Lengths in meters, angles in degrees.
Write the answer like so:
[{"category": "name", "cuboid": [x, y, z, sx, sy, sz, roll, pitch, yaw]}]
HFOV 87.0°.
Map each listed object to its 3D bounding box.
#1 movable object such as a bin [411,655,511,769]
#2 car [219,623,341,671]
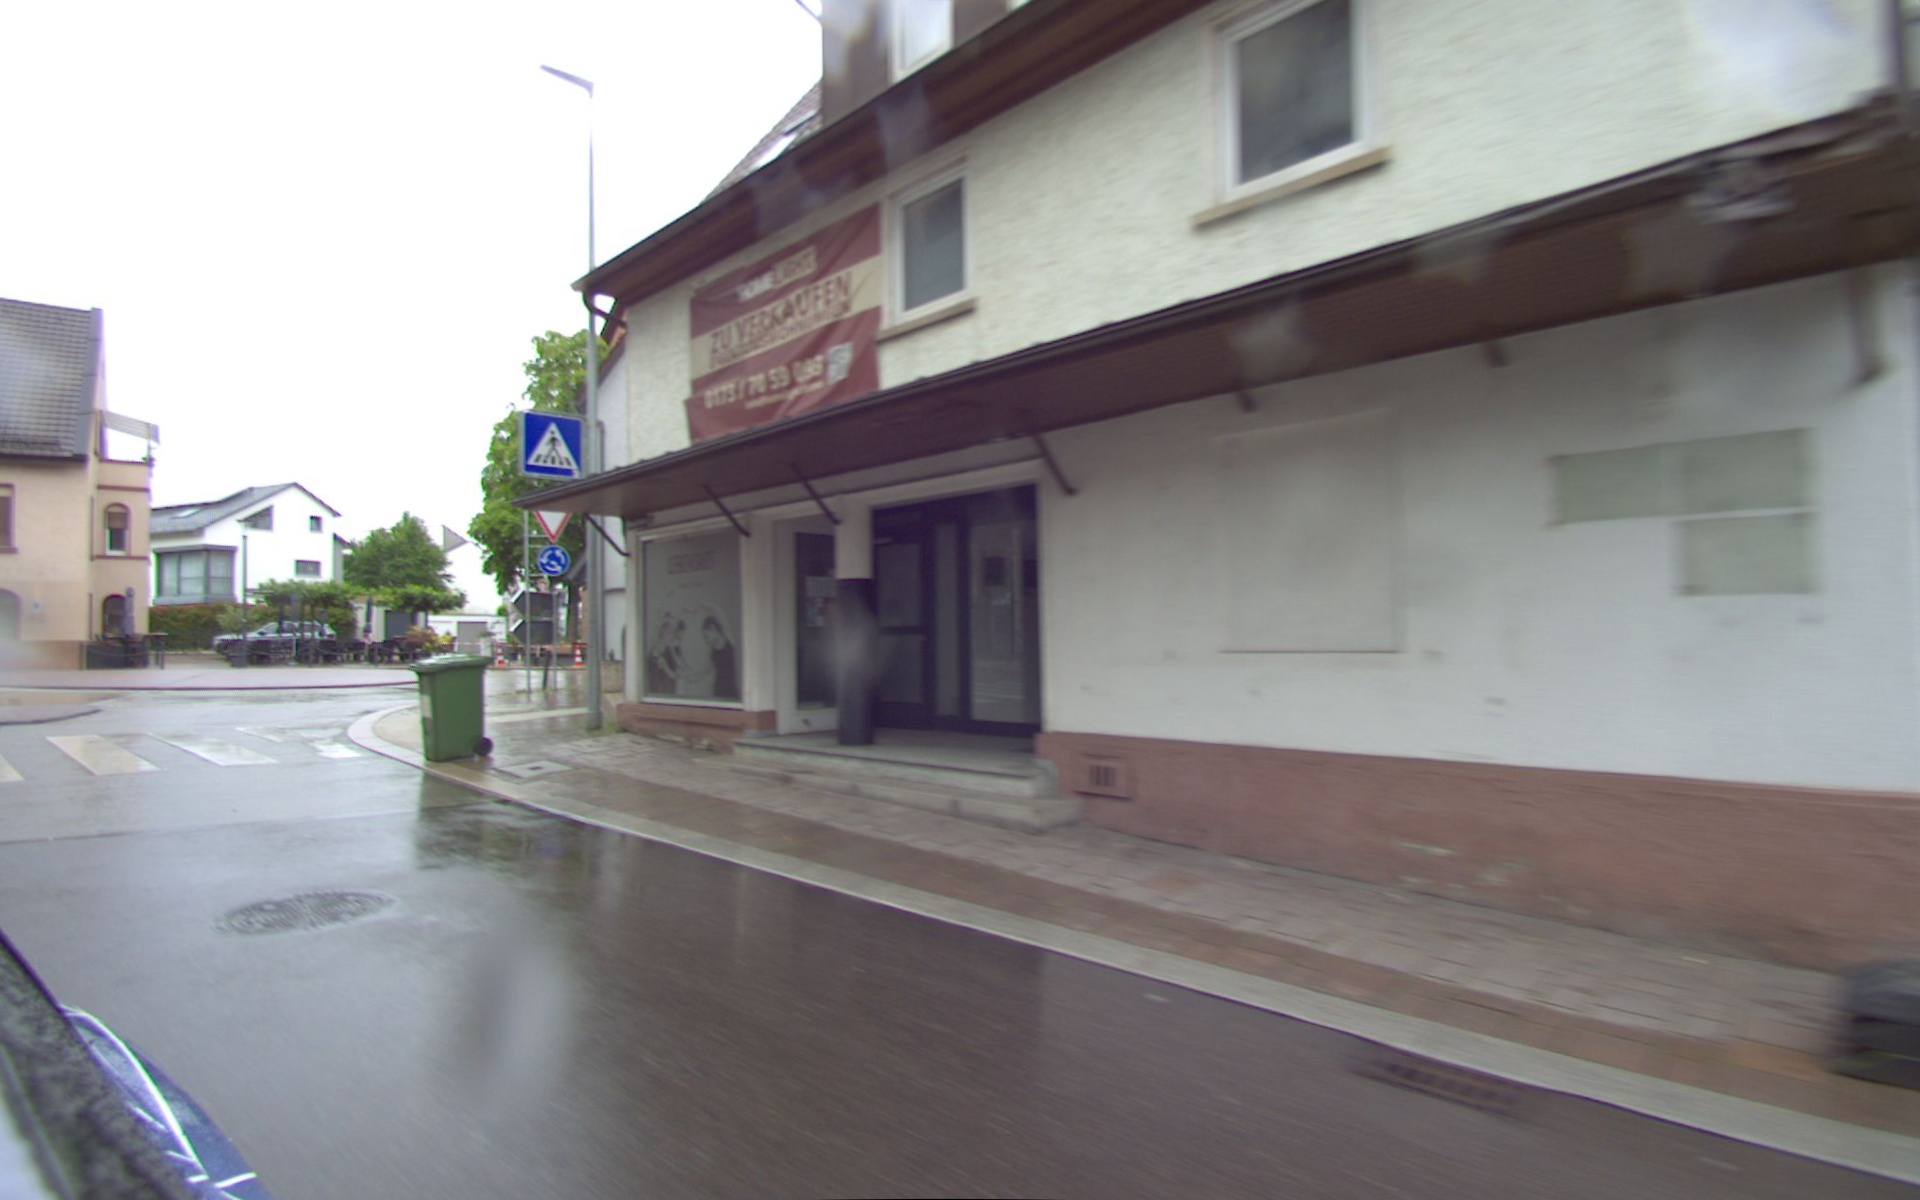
[{"category": "movable object such as a bin", "cuboid": [-5.296, 1.165, 10.746, 0.760, 1.089, 0.680, -1, 1, 39]}, {"category": "car", "cuboid": [-30.622, 2.155, 45.758, 4.412, 2.029, 2.006, 3, -4, -32]}]
